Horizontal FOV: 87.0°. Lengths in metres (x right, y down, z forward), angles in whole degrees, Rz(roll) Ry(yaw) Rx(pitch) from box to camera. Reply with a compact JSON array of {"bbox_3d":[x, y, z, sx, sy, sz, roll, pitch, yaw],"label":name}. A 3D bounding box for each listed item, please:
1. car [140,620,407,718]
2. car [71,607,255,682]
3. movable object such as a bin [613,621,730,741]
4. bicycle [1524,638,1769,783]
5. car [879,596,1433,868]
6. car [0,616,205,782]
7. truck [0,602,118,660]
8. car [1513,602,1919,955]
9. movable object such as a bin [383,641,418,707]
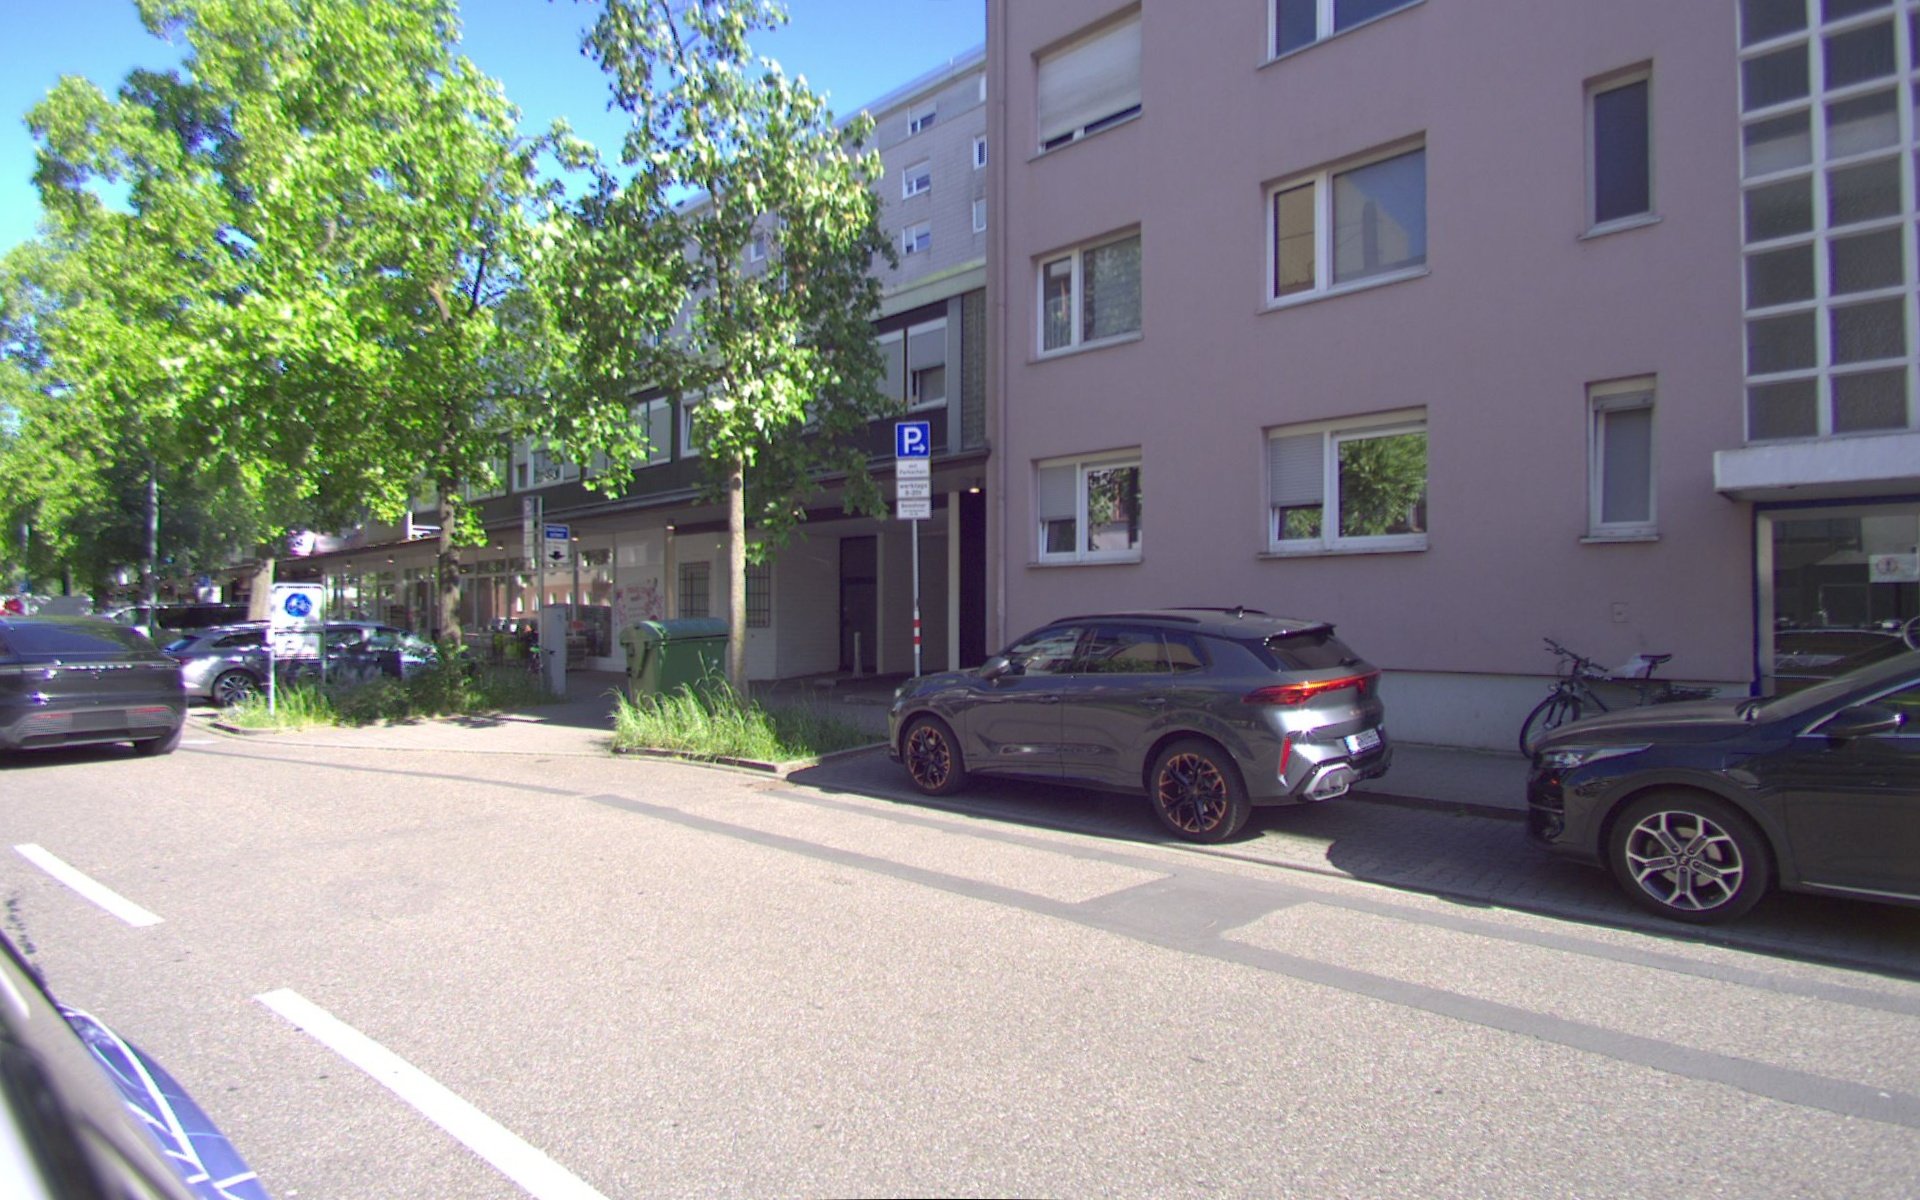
[{"bbox_3d":[-13.202,1.247,19.618,2.000,1.687,3.943,-2,-2,43],"label":"car"},{"bbox_3d":[-23.225,1.257,29.584,2.000,2.047,3.943,-2,-2,43],"label":"car"},{"bbox_3d":[-3.967,1.066,13.940,1.229,1.557,1.020,1,-2,-43],"label":"movable object such as a bin"},{"bbox_3d":[5.770,0.884,8.581,1.650,1.084,0.386,-1,2,44],"label":"bicycle"},{"bbox_3d":[1.395,0.855,8.336,4.142,1.604,1.797,-2,1,45],"label":"car"},{"bbox_3d":[-10.822,1.036,11.653,4.246,1.620,1.974,-2,-2,31],"label":"car"},{"bbox_3d":[-43.288,1.450,47.641,1.994,2.615,5.263,-1,-2,32],"label":"truck"},{"bbox_3d":[5.217,0.781,4.761,4.247,1.519,1.797,-2,0,45],"label":"car"},{"bbox_3d":[-10.723,1.413,19.394,0.409,1.234,0.482,-2,-2,43],"label":"movable object such as a bin"}]
